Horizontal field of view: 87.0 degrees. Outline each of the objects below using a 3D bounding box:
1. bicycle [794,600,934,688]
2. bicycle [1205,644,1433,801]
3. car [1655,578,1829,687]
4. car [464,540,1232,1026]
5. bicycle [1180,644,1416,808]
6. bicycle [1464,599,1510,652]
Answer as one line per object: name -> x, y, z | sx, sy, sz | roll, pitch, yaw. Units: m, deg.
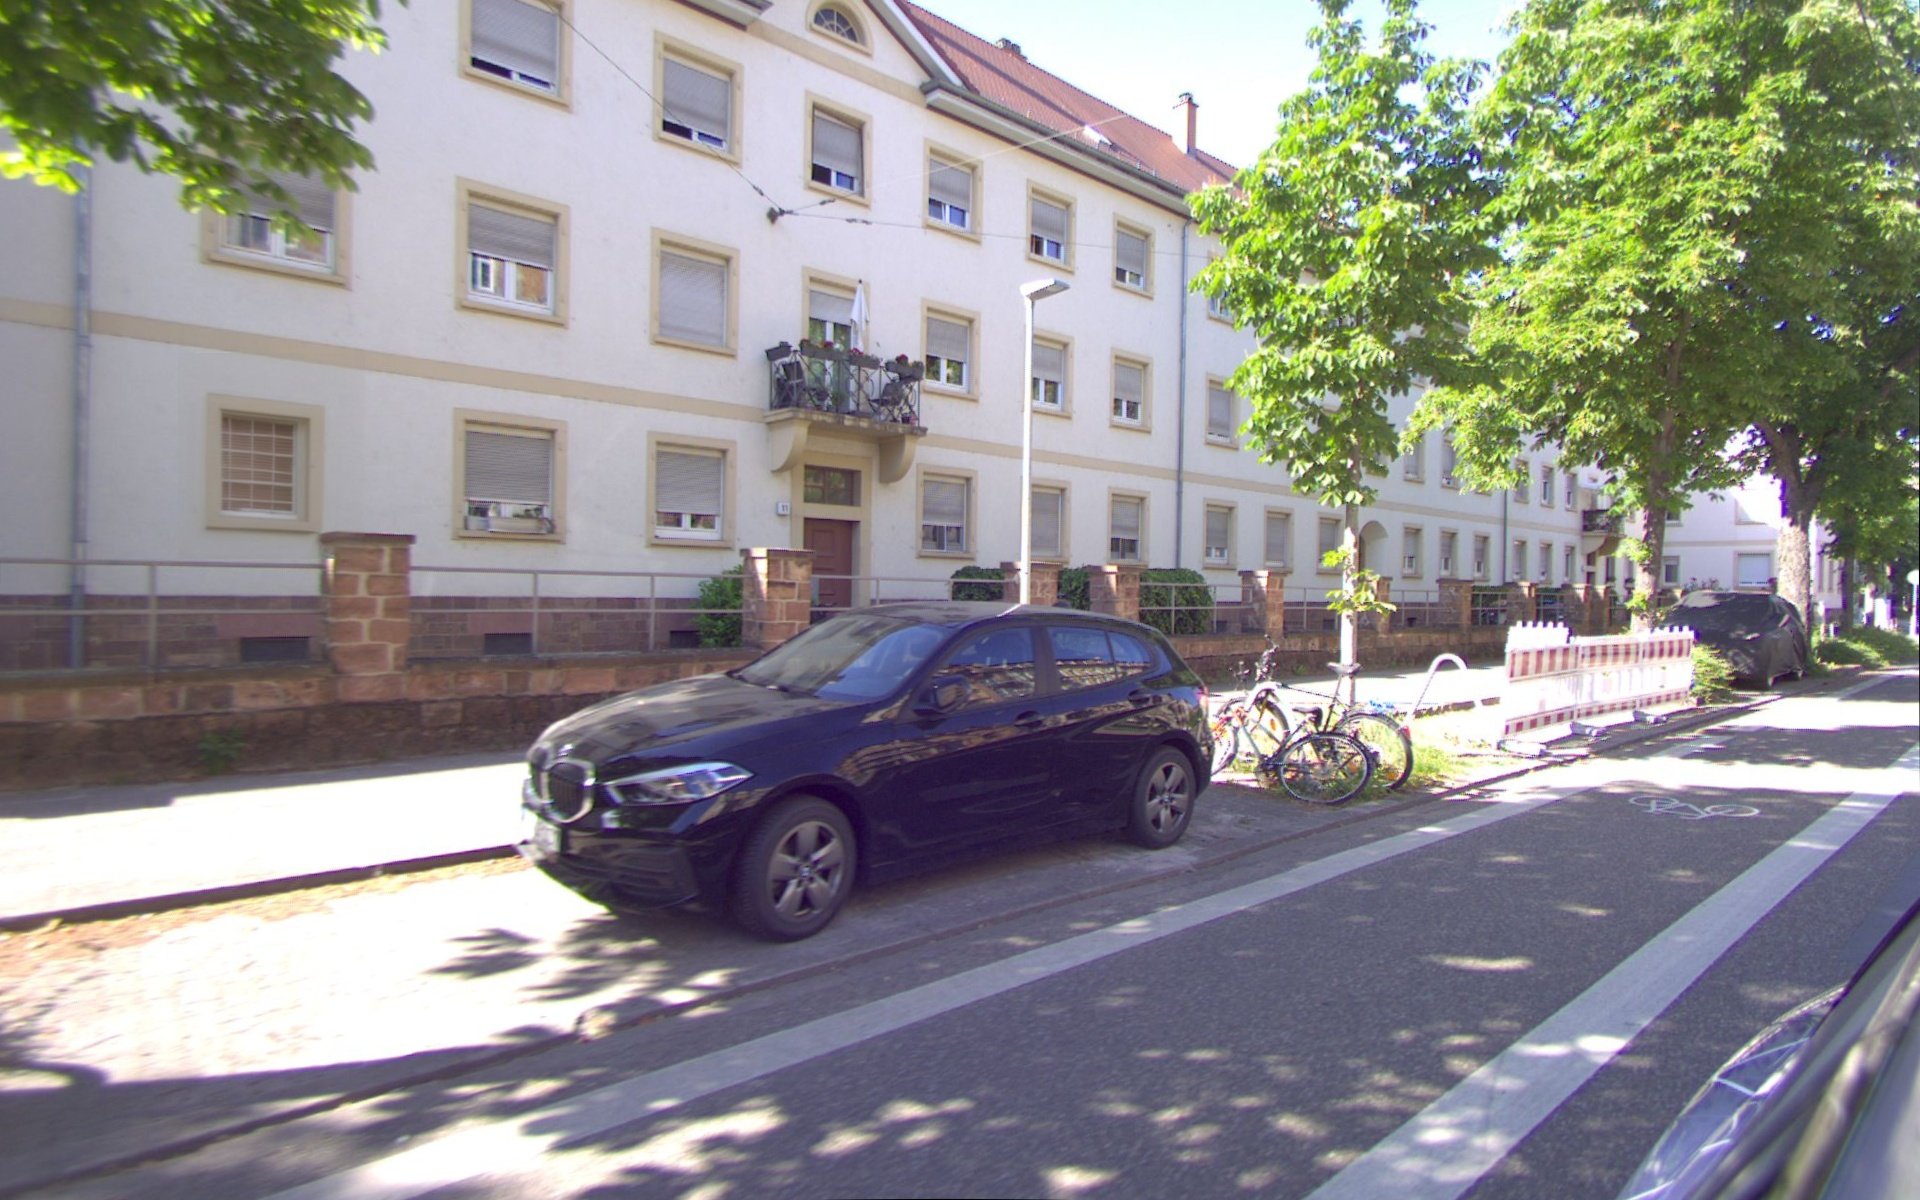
bicycle -> -1.228, 0.539, 13.200 | 1.839, 1.066, 0.560 | 0, 1, -41
bicycle -> 2.847, 0.927, 8.205 | 0.426, 1.091, 1.765 | 0, -1, -39
car -> 14.527, 0.541, 18.712 | 4.400, 1.788, 1.746 | 0, -1, -42
car -> -0.342, 0.659, 5.740 | 4.158, 1.783, 1.668 | 0, 0, -42
bicycle -> 2.553, 0.908, 7.838 | 0.426, 1.091, 1.765 | 0, -1, -39
bicycle -> 12.865, 0.609, 24.693 | 1.647, 1.253, 0.448 | 0, 1, -43
